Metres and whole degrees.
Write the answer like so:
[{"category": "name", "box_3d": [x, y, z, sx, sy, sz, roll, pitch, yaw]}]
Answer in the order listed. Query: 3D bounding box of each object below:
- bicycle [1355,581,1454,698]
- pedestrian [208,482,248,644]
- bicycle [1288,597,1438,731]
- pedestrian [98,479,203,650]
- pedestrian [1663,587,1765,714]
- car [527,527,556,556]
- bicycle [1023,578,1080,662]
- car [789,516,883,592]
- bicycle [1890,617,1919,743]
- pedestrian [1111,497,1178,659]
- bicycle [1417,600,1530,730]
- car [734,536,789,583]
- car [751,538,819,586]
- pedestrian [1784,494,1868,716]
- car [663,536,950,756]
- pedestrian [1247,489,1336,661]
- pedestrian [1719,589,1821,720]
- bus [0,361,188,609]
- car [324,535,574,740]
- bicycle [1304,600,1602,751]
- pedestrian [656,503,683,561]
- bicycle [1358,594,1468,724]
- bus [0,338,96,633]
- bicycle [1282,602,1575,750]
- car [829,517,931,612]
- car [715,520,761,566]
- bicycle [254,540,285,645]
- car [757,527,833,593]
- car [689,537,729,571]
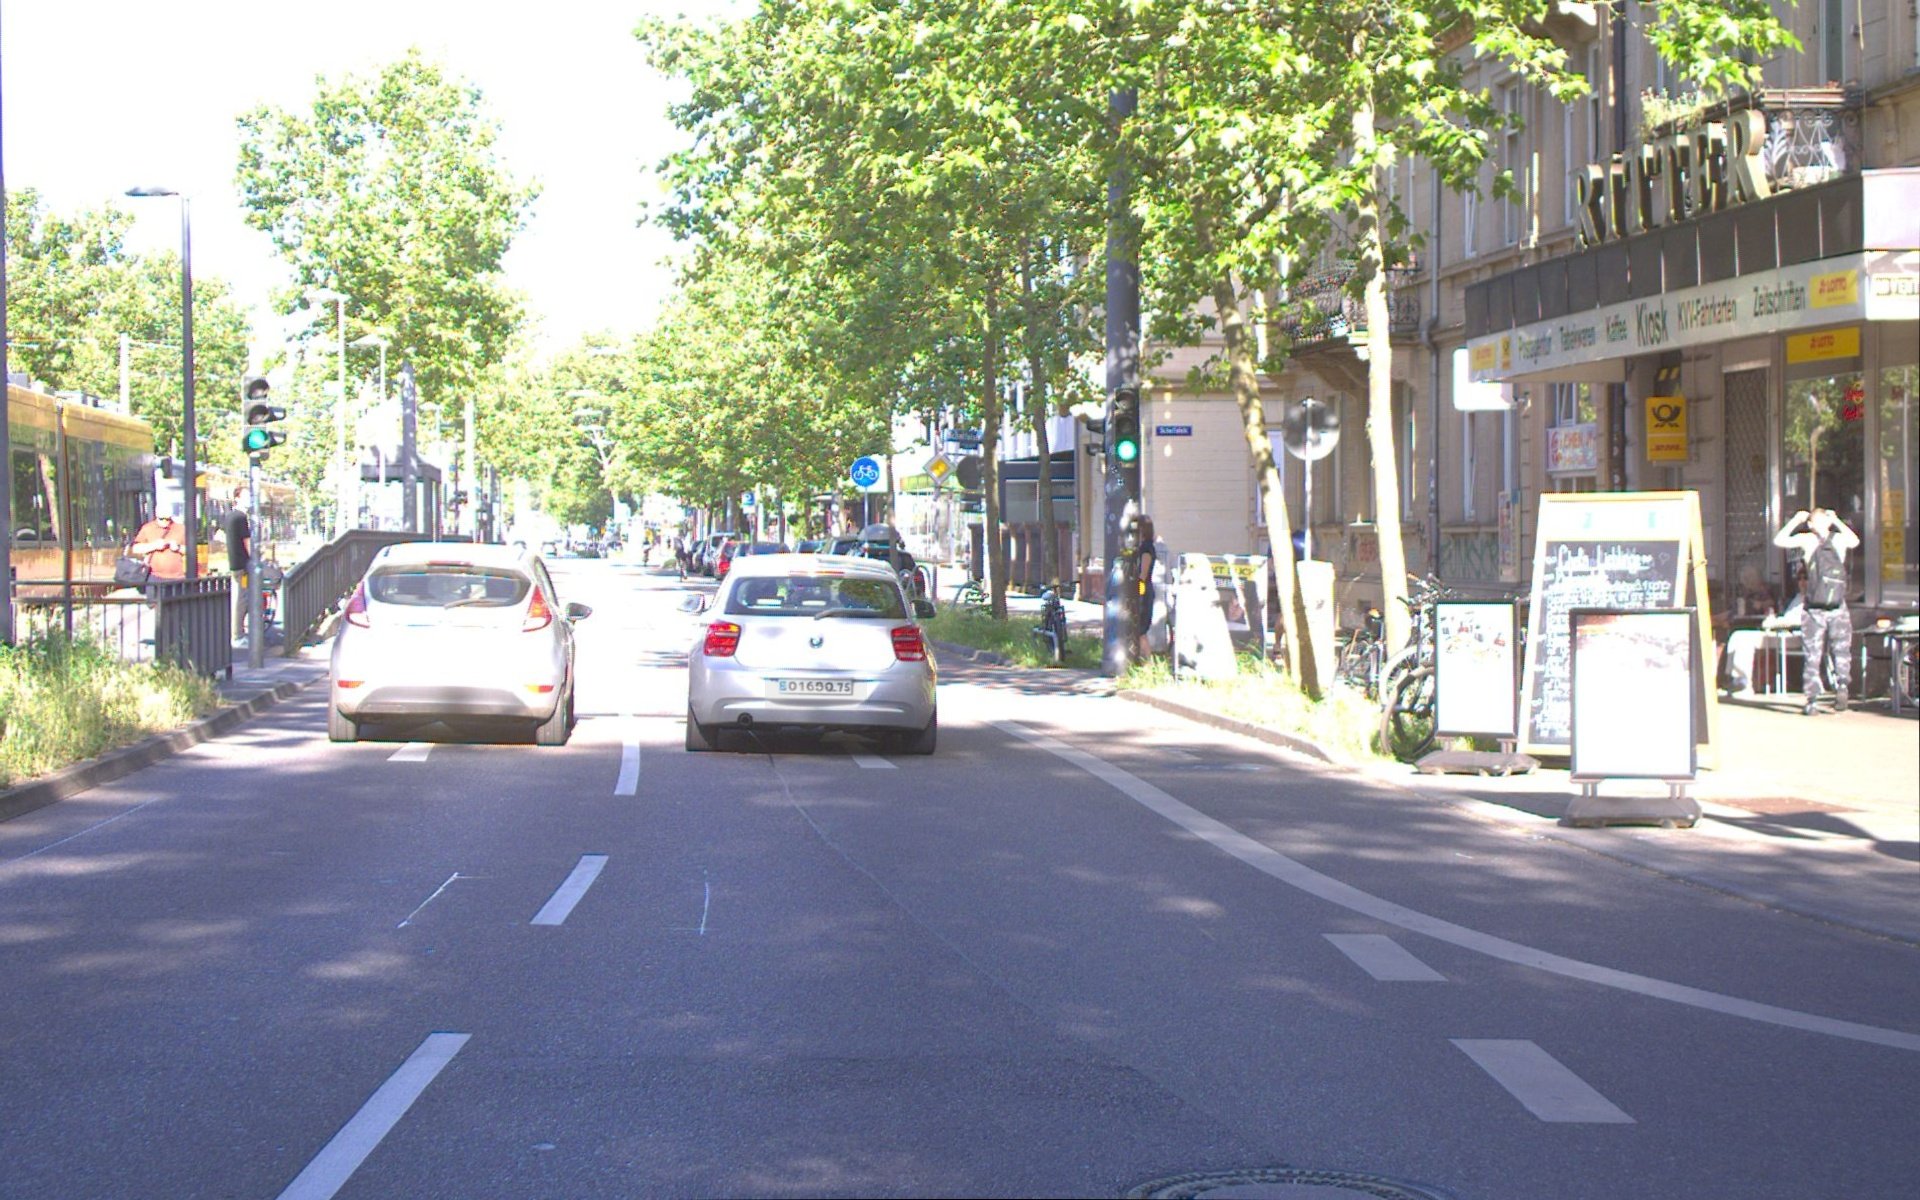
[{"category": "bicycle", "box_3d": [4.026, 0.345, 31.203, 0.442, 0.990, 1.689, 2, 1, -7]}, {"category": "pedestrian", "box_3d": [-8.646, -0.438, 40.597, 0.450, 1.896, 0.585, 0, 1, -14]}, {"category": "bicycle", "box_3d": [3.245, 0.505, 27.811, 0.442, 0.990, 1.689, 2, 1, -21]}, {"category": "pedestrian", "box_3d": [-9.190, -0.407, 39.077, 1.072, 1.909, 1.127, 0, 1, -8]}, {"category": "pedestrian", "box_3d": [7.052, 0.473, 32.156, 0.771, 1.157, 0.469, 1, 1, -31]}, {"category": "car", "box_3d": [-30.949, -4.351, 254.462, 1.993, 2.007, 4.001, 2, 1, -6]}, {"category": "bicycle", "box_3d": [1.120, 0.238, 42.115, 0.427, 0.967, 1.751, 2, 1, -6]}, {"category": "car", "box_3d": [-2.926, -1.100, 80.261, 1.797, 1.694, 4.738, -1, 1, -6]}, {"category": "bicycle", "box_3d": [7.914, 0.656, 27.178, 0.442, 0.990, 1.689, 2, 1, -7]}, {"category": "pedestrian", "box_3d": [2.057, -0.251, 38.437, 0.642, 1.765, 0.869, 2, 1, 0]}, {"category": "bicycle", "box_3d": [4.234, 0.521, 28.428, 0.442, 0.990, 1.689, 2, 1, -7]}, {"category": "car", "box_3d": [-6.996, -1.439, 120.835, 1.669, 1.546, 4.001, 2, 1, -6]}, {"category": "car", "box_3d": [-5.907, -1.262, 115.589, 1.993, 1.504, 4.598, 2, 0, -6]}, {"category": "pedestrian", "box_3d": [7.203, 0.037, 28.577, 0.468, 1.804, 0.773, 2, 1, 25]}, {"category": "car", "box_3d": [-1.214, 0.281, 25.474, 1.762, 1.427, 4.001, 2, 1, -7]}, {"category": "pedestrian", "box_3d": [3.961, -0.303, 41.146, 0.882, 2.007, 0.857, 2, 1, -3]}, {"category": "pedestrian", "box_3d": [7.439, 0.497, 31.584, 0.645, 1.157, 0.611, 2, 1, -17]}, {"category": "bus", "box_3d": [-14.130, -1.700, 53.423, 2.868, 3.432, 11.613, 0, 1, -6]}, {"category": "car", "box_3d": [-3.752, 0.229, 25.724, 1.646, 1.358, 3.761, 2, 1, -6]}, {"category": "bicycle", "box_3d": [3.478, 0.530, 24.270, 2.003, 0.990, 0.444, 2, 1, -8]}, {"category": "pedestrian", "box_3d": [-10.361, -2.421, 122.534, 0.838, 2.007, 0.648, 2, 1, 1]}, {"category": "bicycle", "box_3d": [3.720, 0.471, 28.339, 0.442, 0.990, 1.689, 2, 1, -7]}, {"category": "bus", "box_3d": [-12.786, -1.363, 41.559, 2.868, 3.432, 12.217, 0, 1, -6]}, {"category": "bicycle", "box_3d": [3.370, 0.546, 24.764, 2.013, 0.990, 0.444, 2, 1, -8]}, {"category": "car", "box_3d": [-1.767, -0.795, 74.286, 1.754, 1.958, 4.738, 1, 1, -7]}, {"category": "car", "box_3d": [-9.501, -2.437, 146.638, 1.724, 1.874, 4.001, 2, 0, -6]}, {"category": "bicycle", "box_3d": [-8.206, -0.102, 40.852, 0.328, 1.210, 1.829, 0, 1, -12]}, {"category": "car", "box_3d": [-4.322, -1.069, 89.612, 1.691, 1.652, 4.040, 0, 2, -7]}, {"category": "car", "box_3d": [-11.903, -2.192, 162.733, 1.700, 1.529, 3.717, 2, 1, -6]}]
